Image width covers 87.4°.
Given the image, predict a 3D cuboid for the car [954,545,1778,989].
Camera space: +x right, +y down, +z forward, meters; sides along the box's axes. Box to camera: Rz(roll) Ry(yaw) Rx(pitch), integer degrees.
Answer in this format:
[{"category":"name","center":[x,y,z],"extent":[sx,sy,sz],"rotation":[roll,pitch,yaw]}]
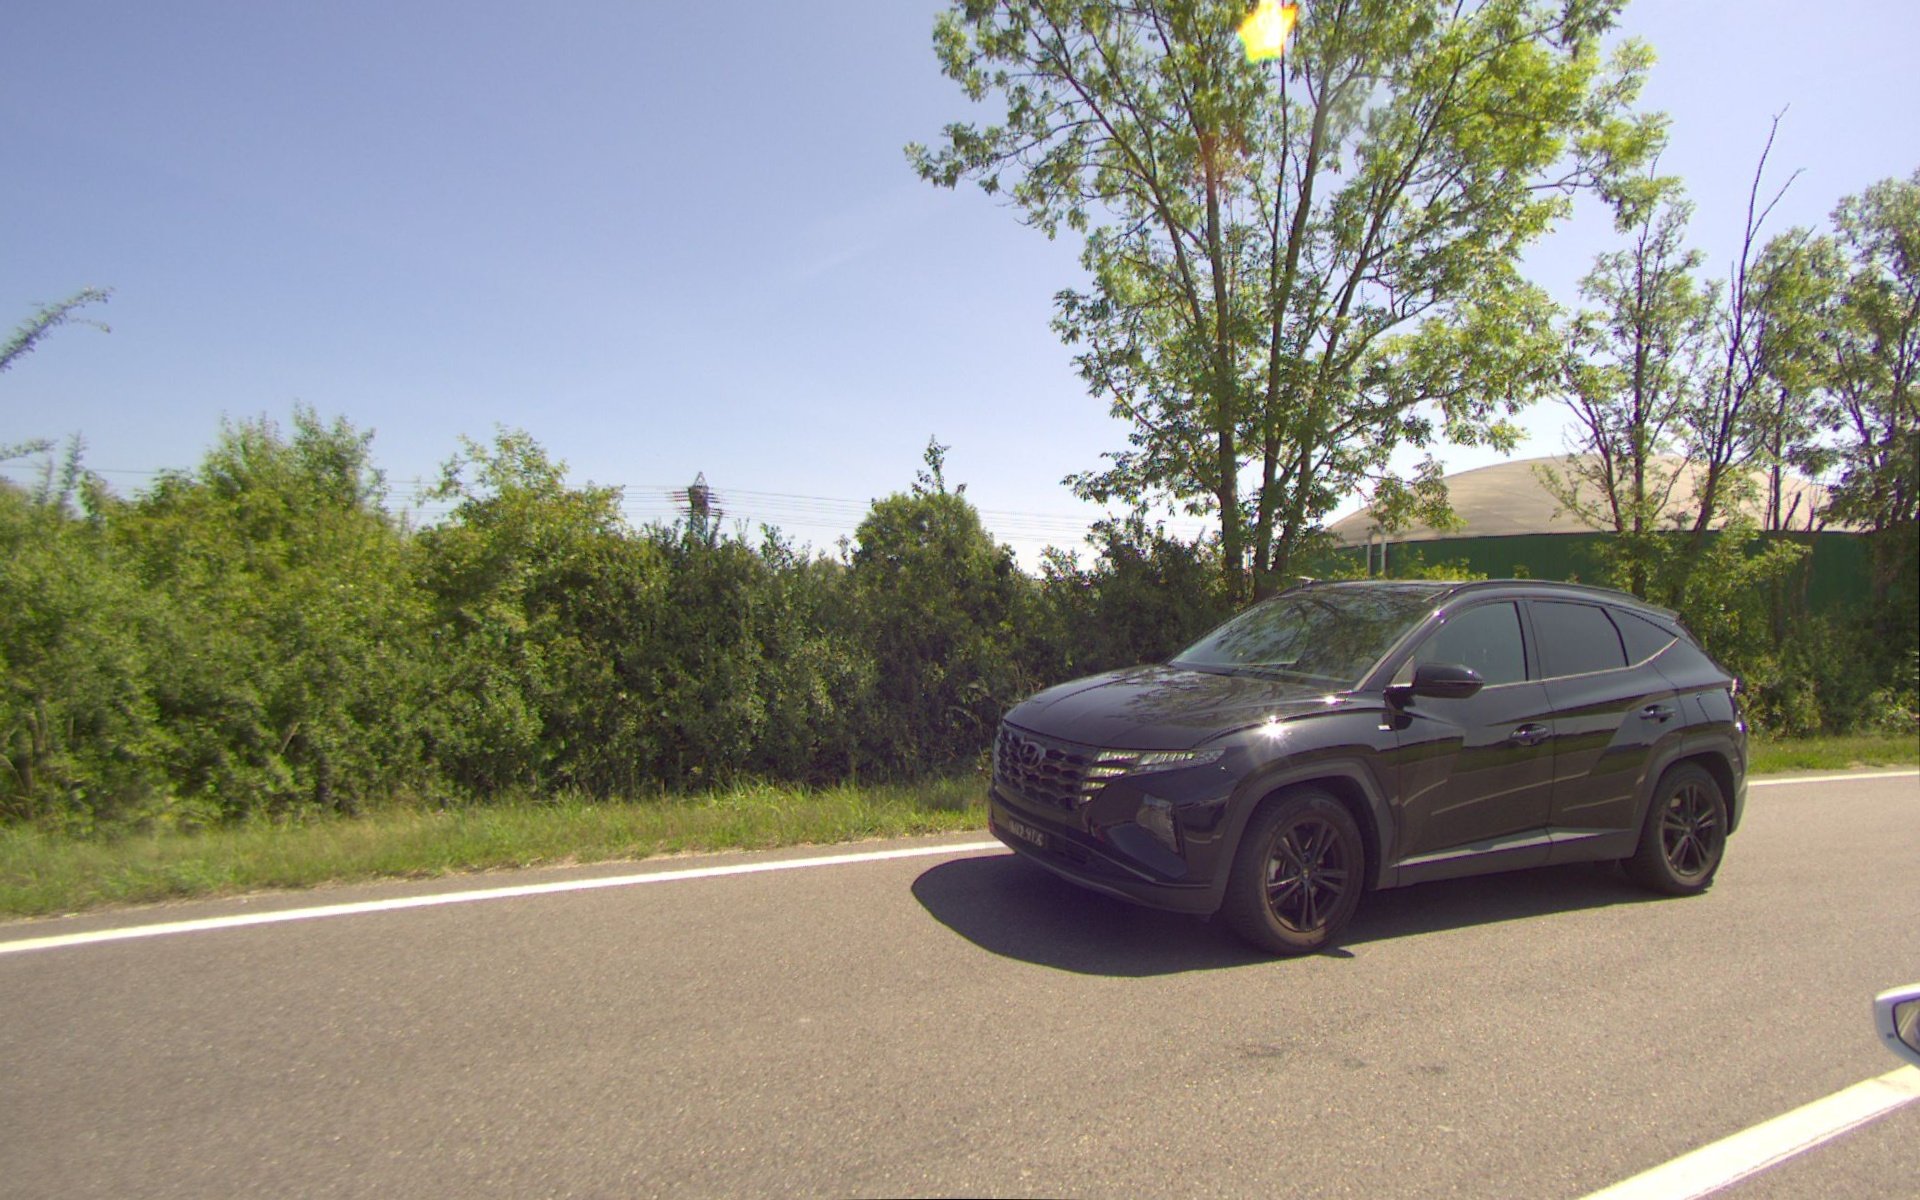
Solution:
[{"category":"car","center":[2.233,0.661,5.415],"extent":[4.191,1.660,1.697],"rotation":[1,0,-25]}]

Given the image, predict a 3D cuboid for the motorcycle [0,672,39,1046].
[{"category":"motorcycle","center":[-3.925,0.772,2.392],"extent":[2.401,1.138,0.778],"rotation":[2,0,-30]}]
